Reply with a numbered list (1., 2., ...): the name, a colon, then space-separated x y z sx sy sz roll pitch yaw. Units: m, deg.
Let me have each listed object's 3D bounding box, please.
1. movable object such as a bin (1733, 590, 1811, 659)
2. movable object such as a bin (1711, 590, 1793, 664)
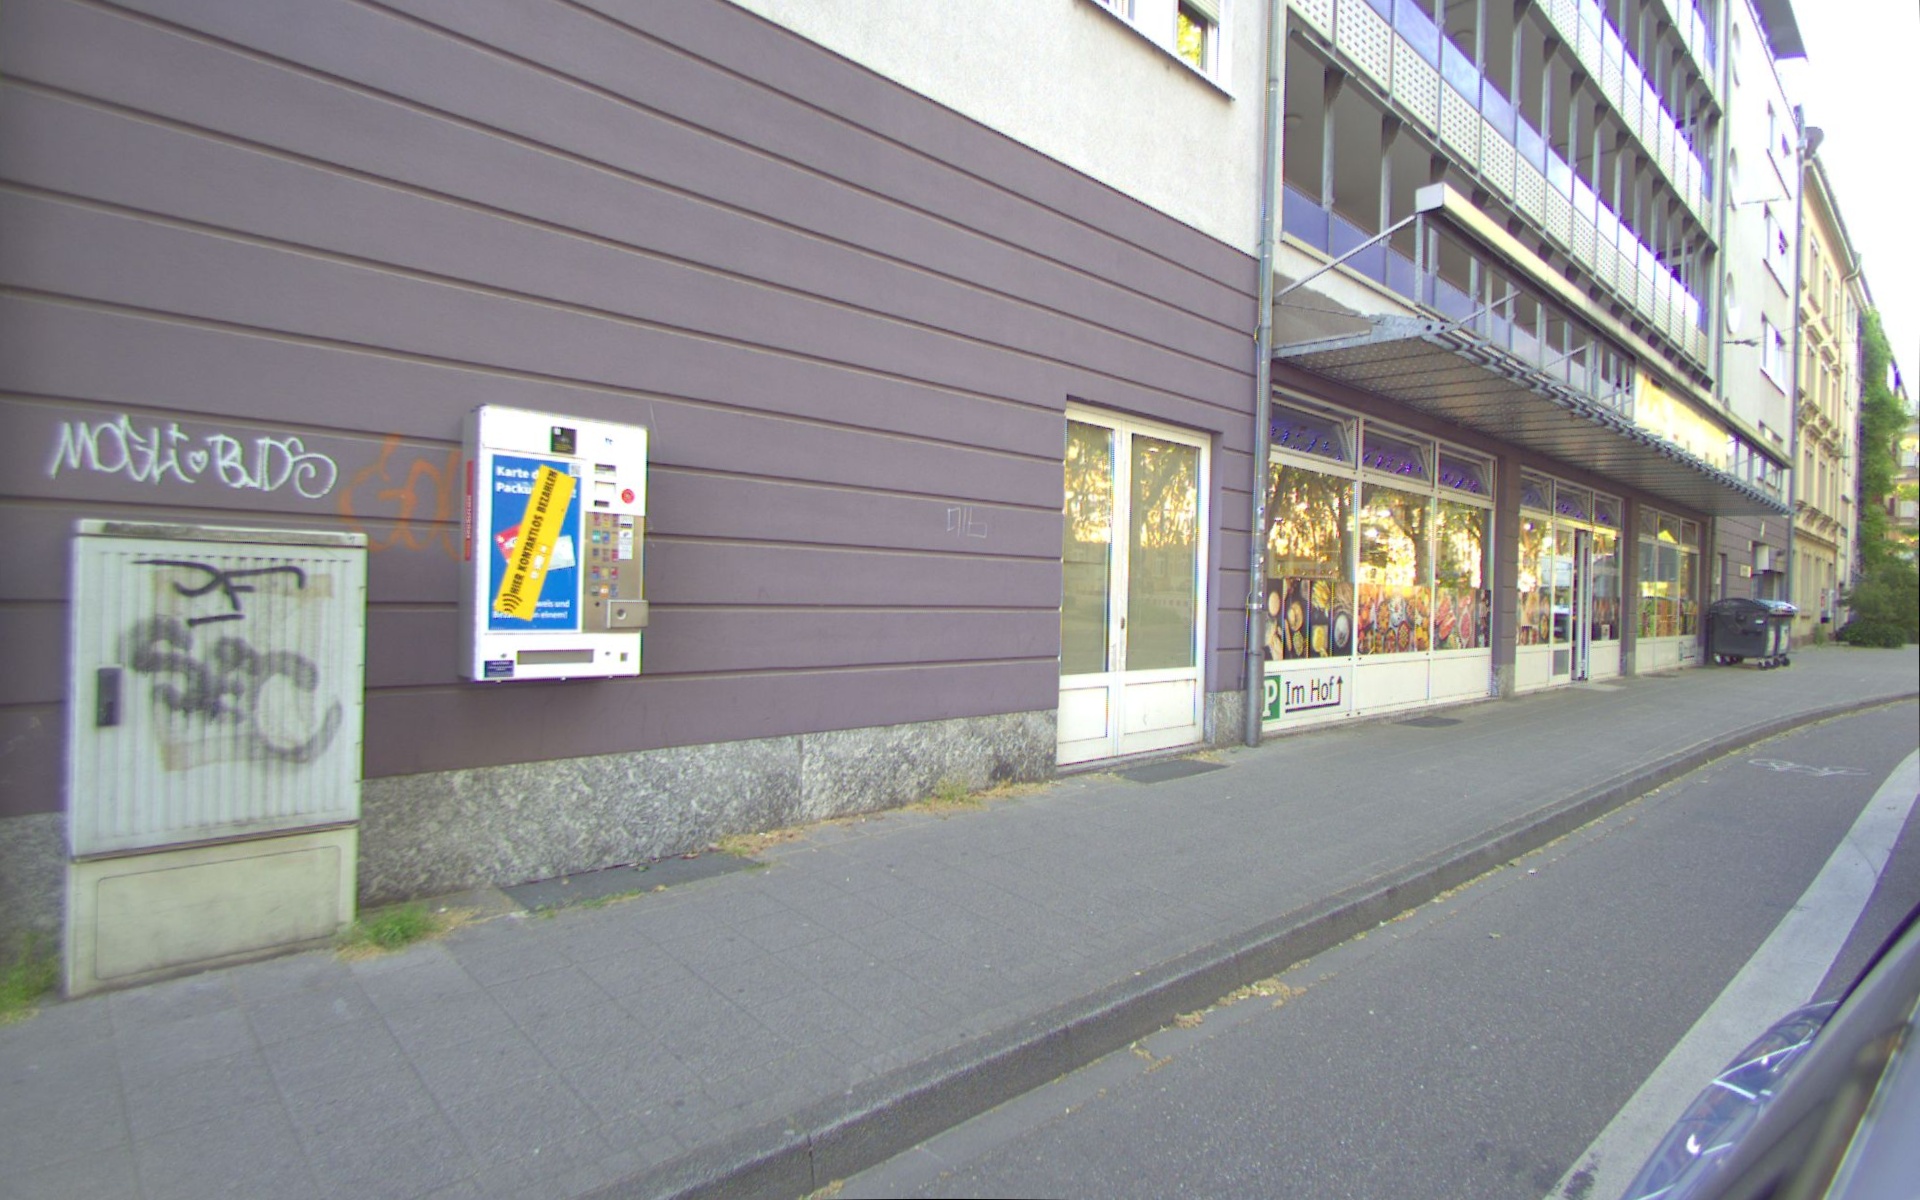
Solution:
1. movable object such as a bin: 17.770 0.521 22.144 0.923 1.444 1.158 1 1 -40
2. movable object such as a bin: 16.281 0.539 20.805 0.923 1.444 1.158 1 1 -40
